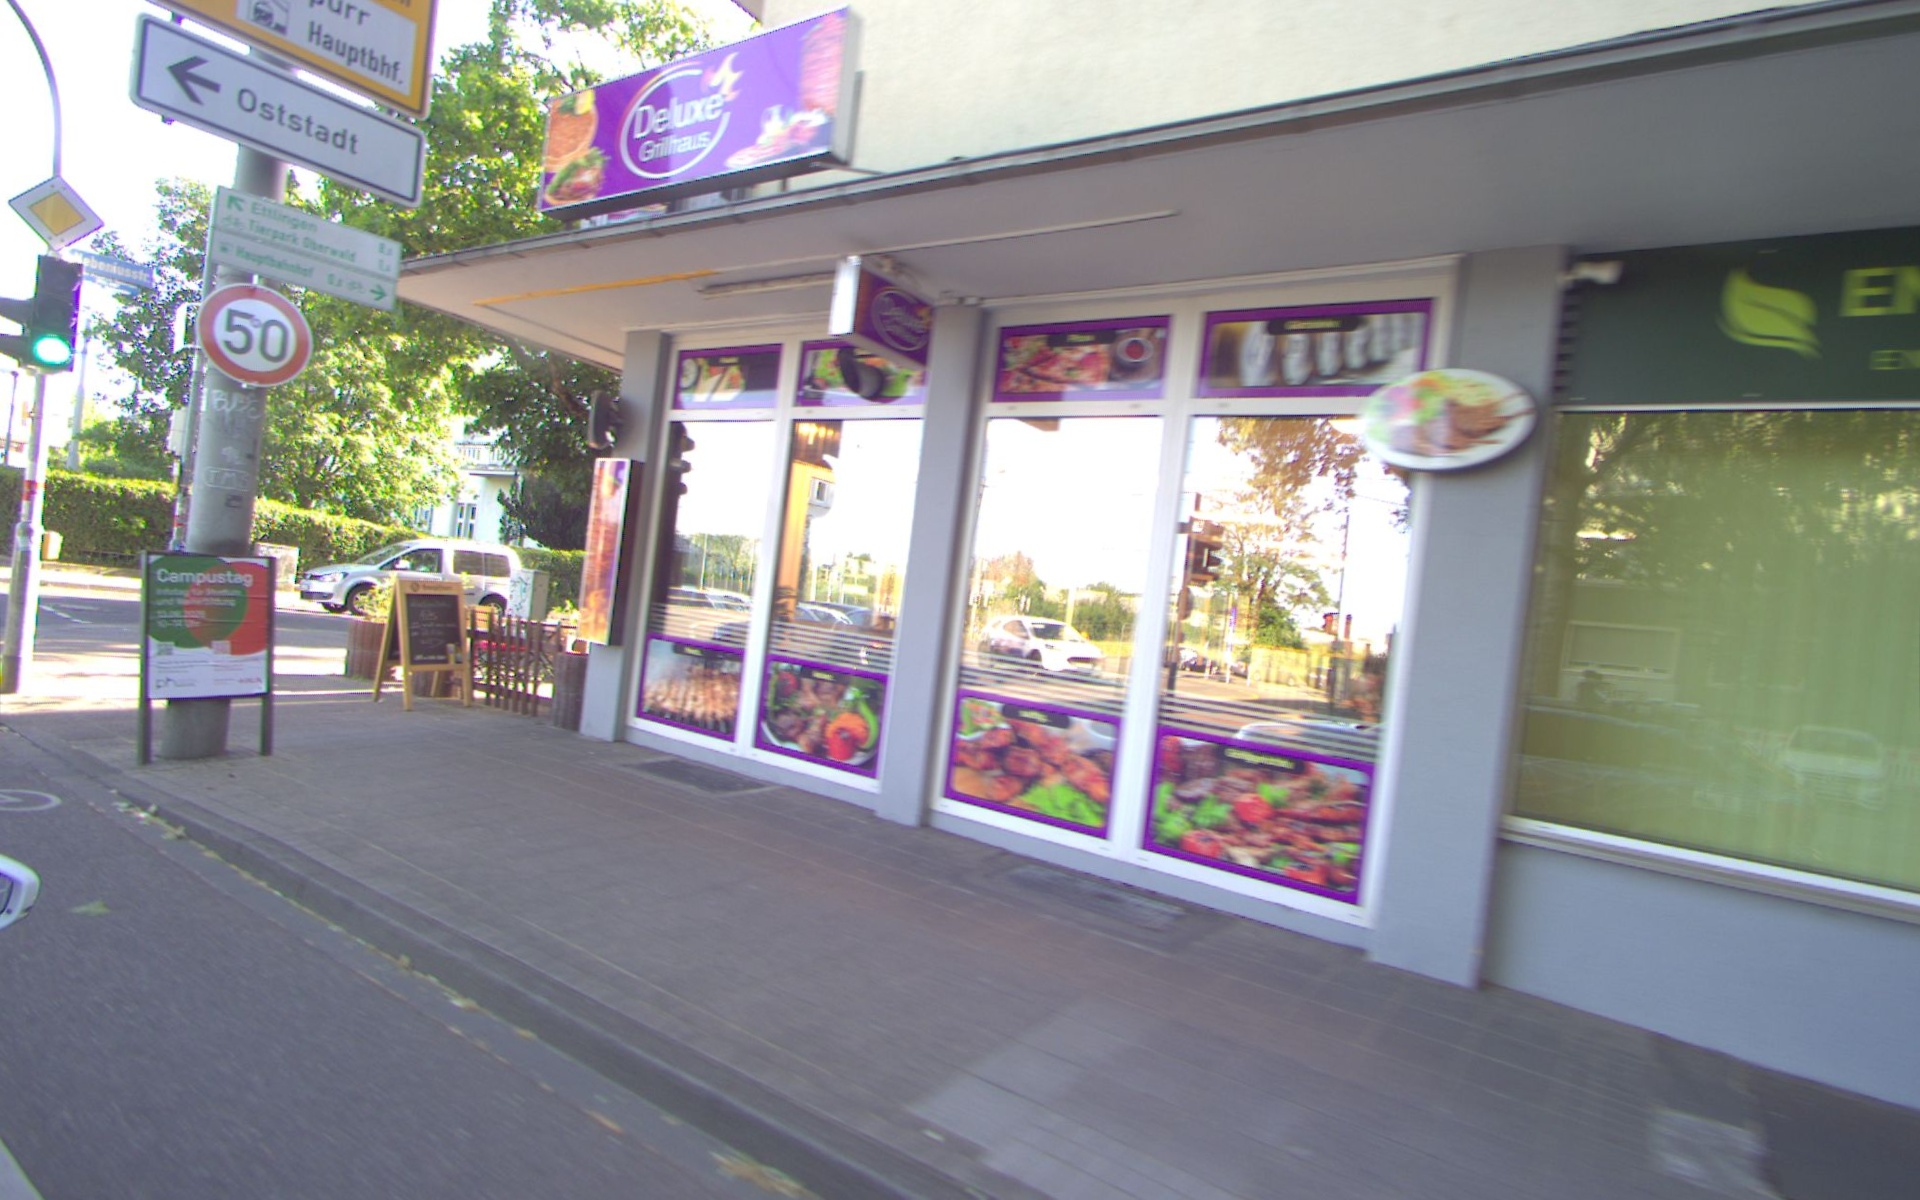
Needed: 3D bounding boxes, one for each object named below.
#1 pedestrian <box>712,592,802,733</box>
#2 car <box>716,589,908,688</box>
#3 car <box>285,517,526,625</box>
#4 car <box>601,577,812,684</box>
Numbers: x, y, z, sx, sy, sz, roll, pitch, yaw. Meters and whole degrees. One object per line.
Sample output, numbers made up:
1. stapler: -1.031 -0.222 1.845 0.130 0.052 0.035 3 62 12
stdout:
1. pedestrian: -2.097 0.643 10.408 0.597 1.358 0.492 7 0 35
2. car: -3.270 0.829 22.064 3.840 1.637 1.713 7 -1 32
3. car: -12.040 -0.562 22.082 1.780 1.834 4.175 3 -3 38
4. car: -5.152 0.604 20.296 3.969 1.600 1.707 7 -1 32
